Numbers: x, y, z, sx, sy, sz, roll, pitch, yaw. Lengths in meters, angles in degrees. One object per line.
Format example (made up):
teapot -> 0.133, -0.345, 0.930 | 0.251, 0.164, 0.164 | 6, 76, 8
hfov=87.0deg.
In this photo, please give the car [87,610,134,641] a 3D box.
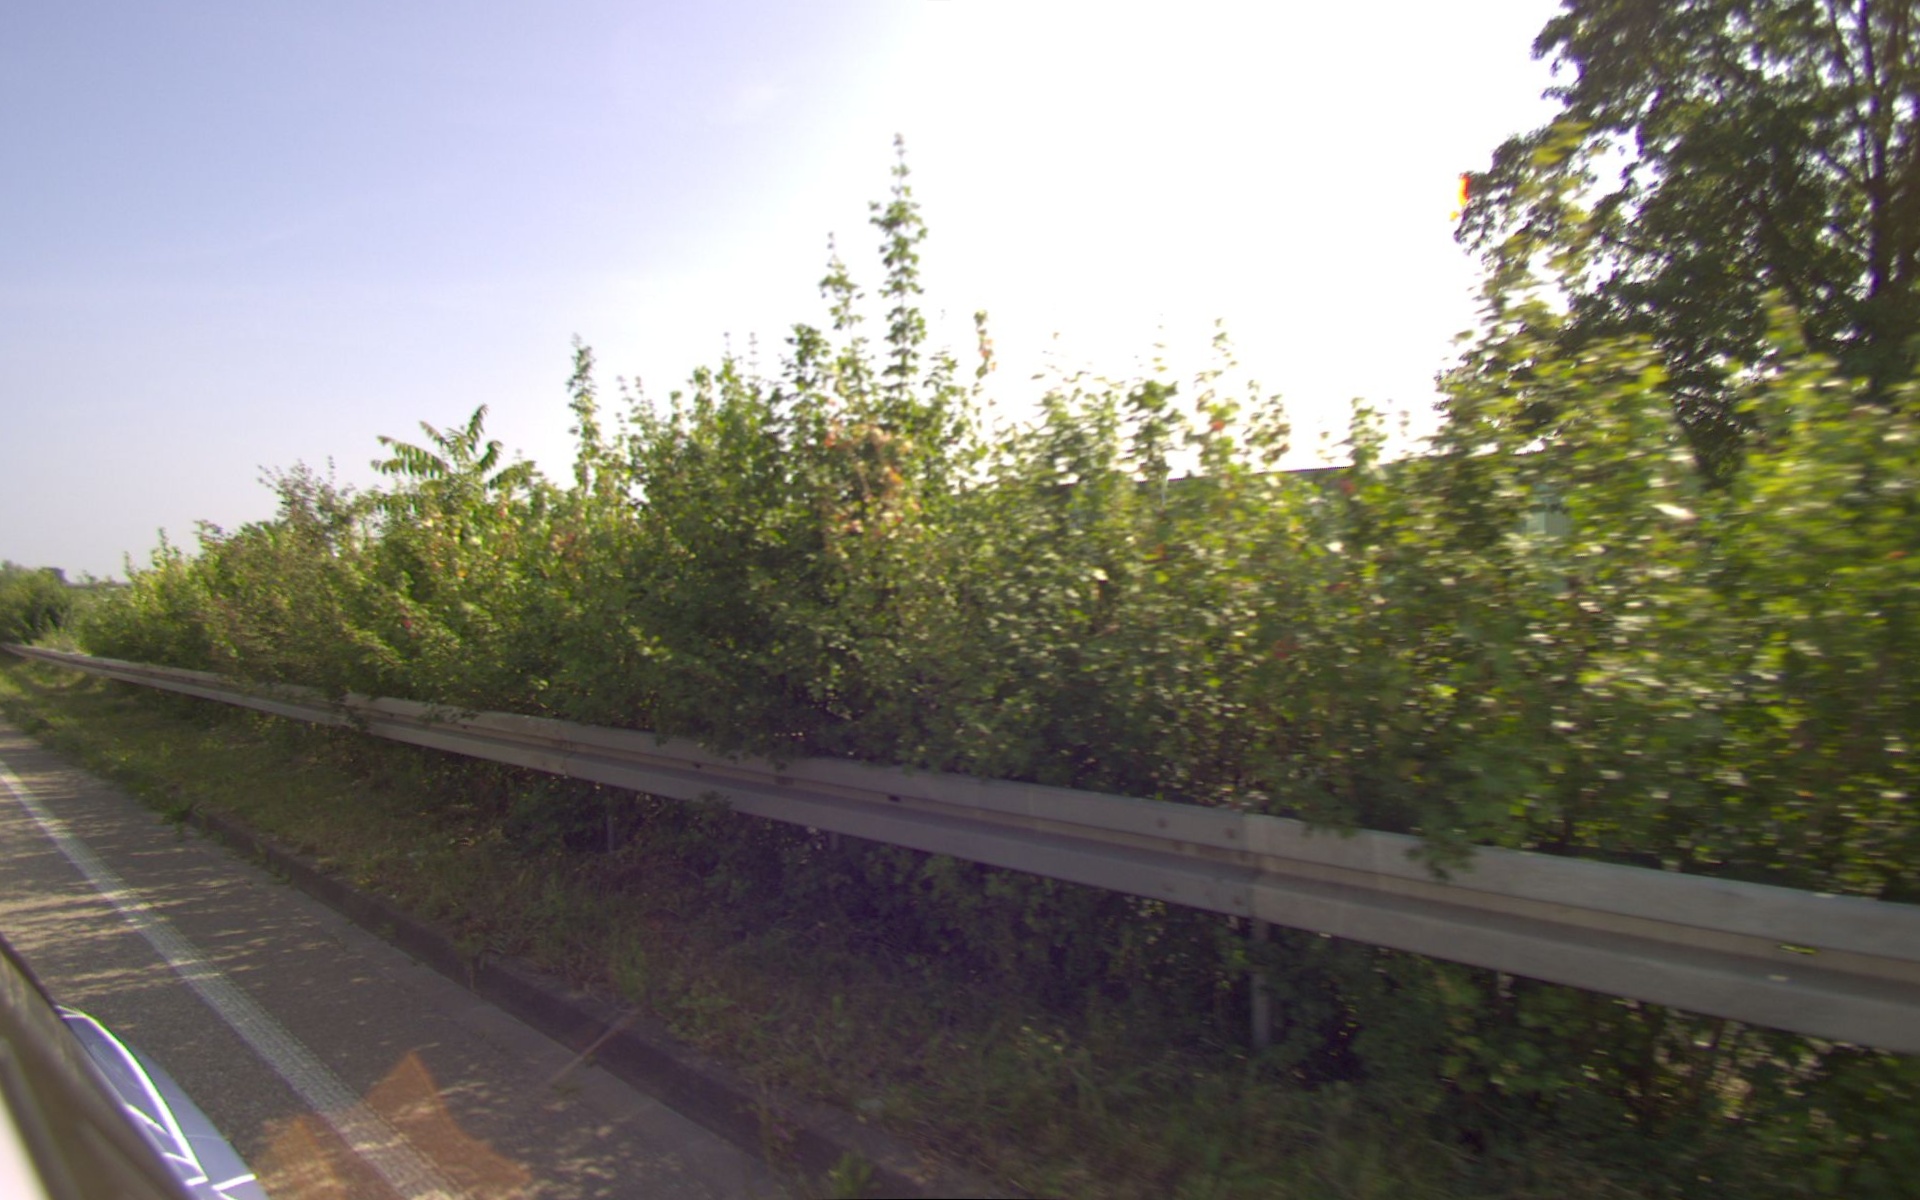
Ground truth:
car -> -46.268, 1.361, 55.099 | 4.323, 1.634, 1.574 | -1, -2, 45
